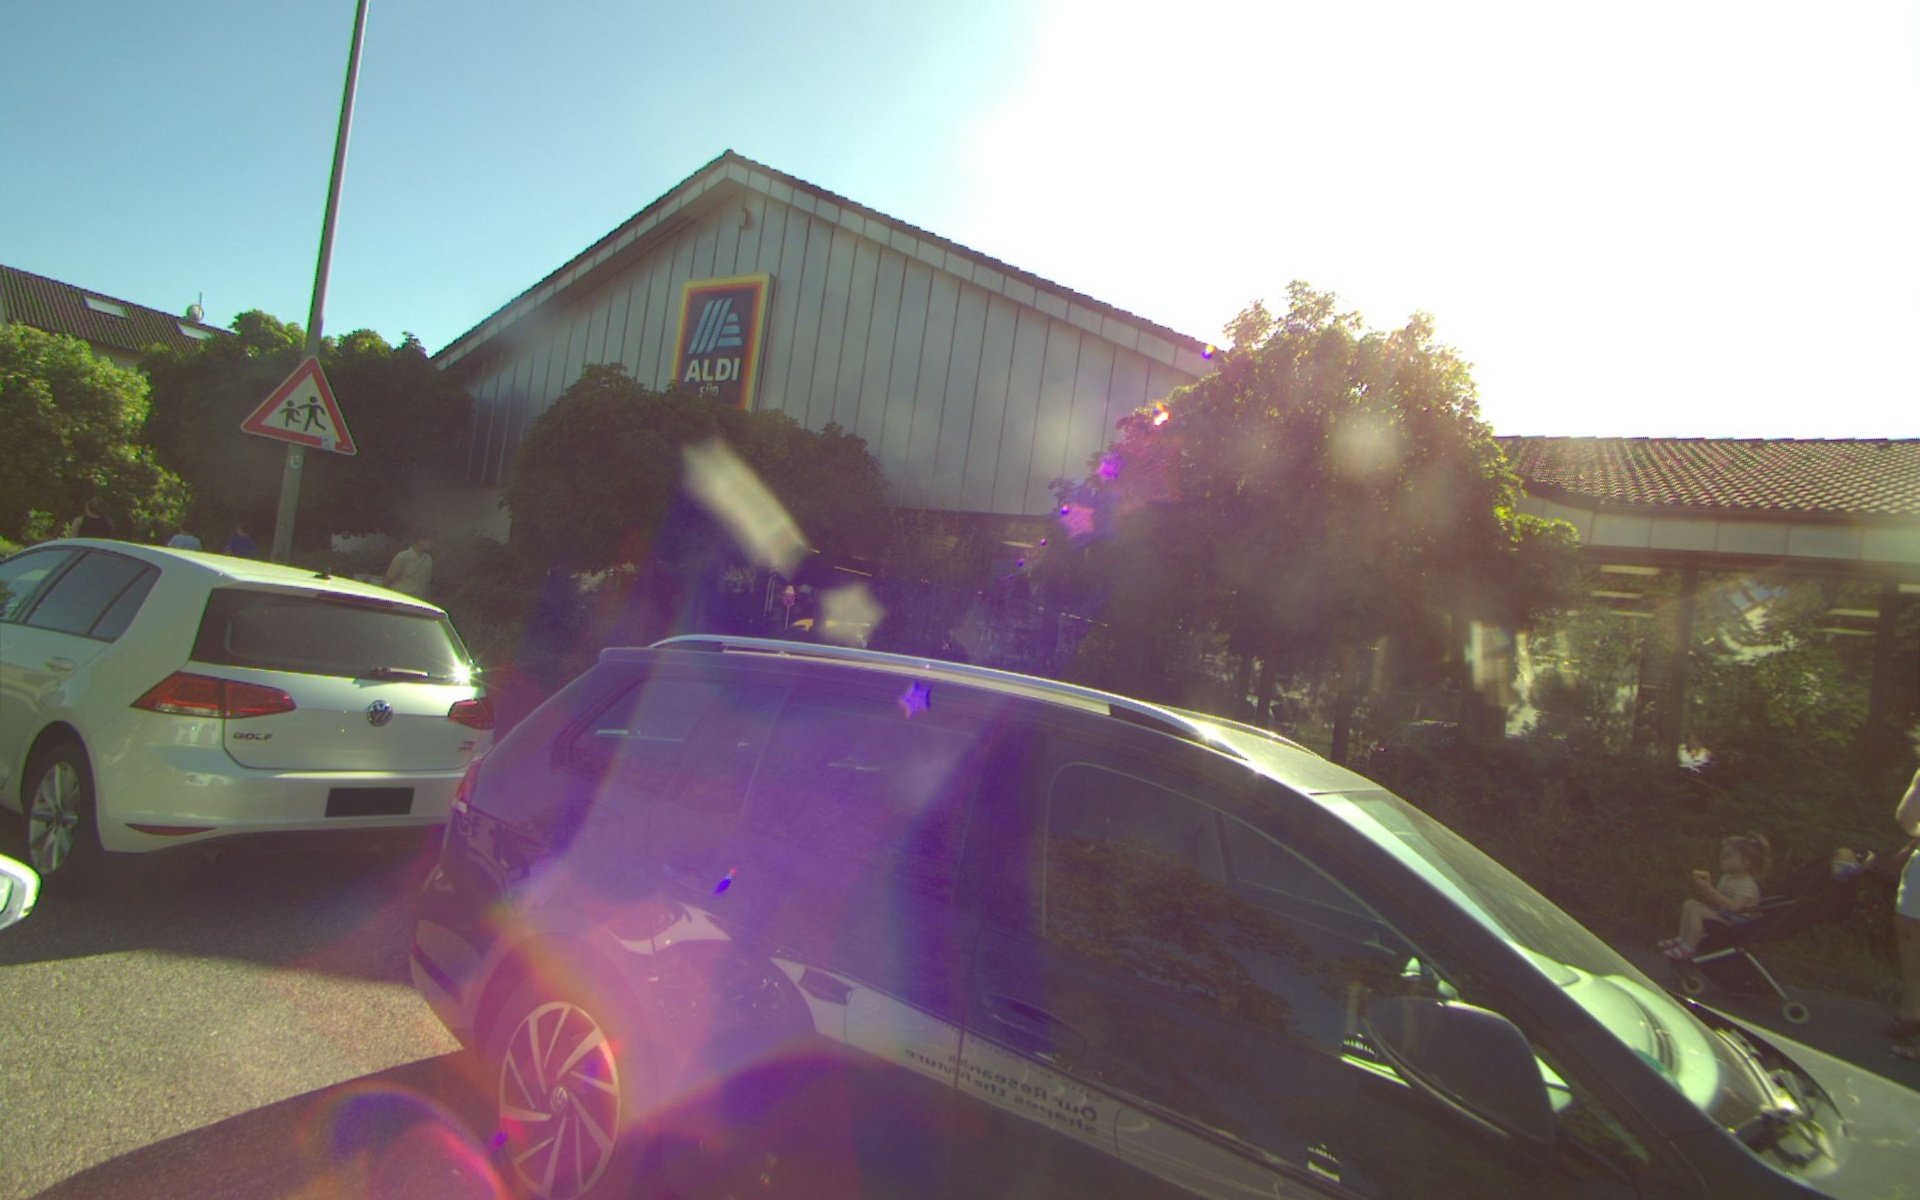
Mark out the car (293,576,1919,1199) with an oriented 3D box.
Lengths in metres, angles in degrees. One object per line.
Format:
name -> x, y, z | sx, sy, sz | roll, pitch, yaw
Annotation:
car -> 0.418, 0.980, 2.614 | 4.291, 1.459, 1.812 | 7, -3, 32

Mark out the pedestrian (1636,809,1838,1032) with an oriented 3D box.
pedestrian -> 4.442, 1.788, 5.779 | 0.798, 0.991, 0.532 | 6, -3, 39

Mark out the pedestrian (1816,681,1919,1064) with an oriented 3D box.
pedestrian -> 5.004, 1.384, 5.111 | 0.797, 1.802, 0.798 | 7, -2, 39

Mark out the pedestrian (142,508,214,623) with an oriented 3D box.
pedestrian -> -11.964, -0.530, 15.397 | 0.538, 1.655, 0.567 | 7, -2, 36

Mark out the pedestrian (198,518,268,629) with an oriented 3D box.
pedestrian -> -11.528, -0.419, 15.951 | 0.538, 1.655, 0.567 | 7, -2, 36

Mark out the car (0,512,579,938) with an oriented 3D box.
car -> -4.222, 0.412, 5.437 | 3.932, 1.467, 1.832 | 6, -3, 30

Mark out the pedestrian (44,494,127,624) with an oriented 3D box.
pedestrian -> -11.833, -0.550, 13.618 | 0.538, 1.655, 0.567 | 7, -2, 36

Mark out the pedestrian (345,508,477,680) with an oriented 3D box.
pedestrian -> -6.513, -0.063, 11.964 | 0.858, 1.882, 0.797 | 7, -2, 24
